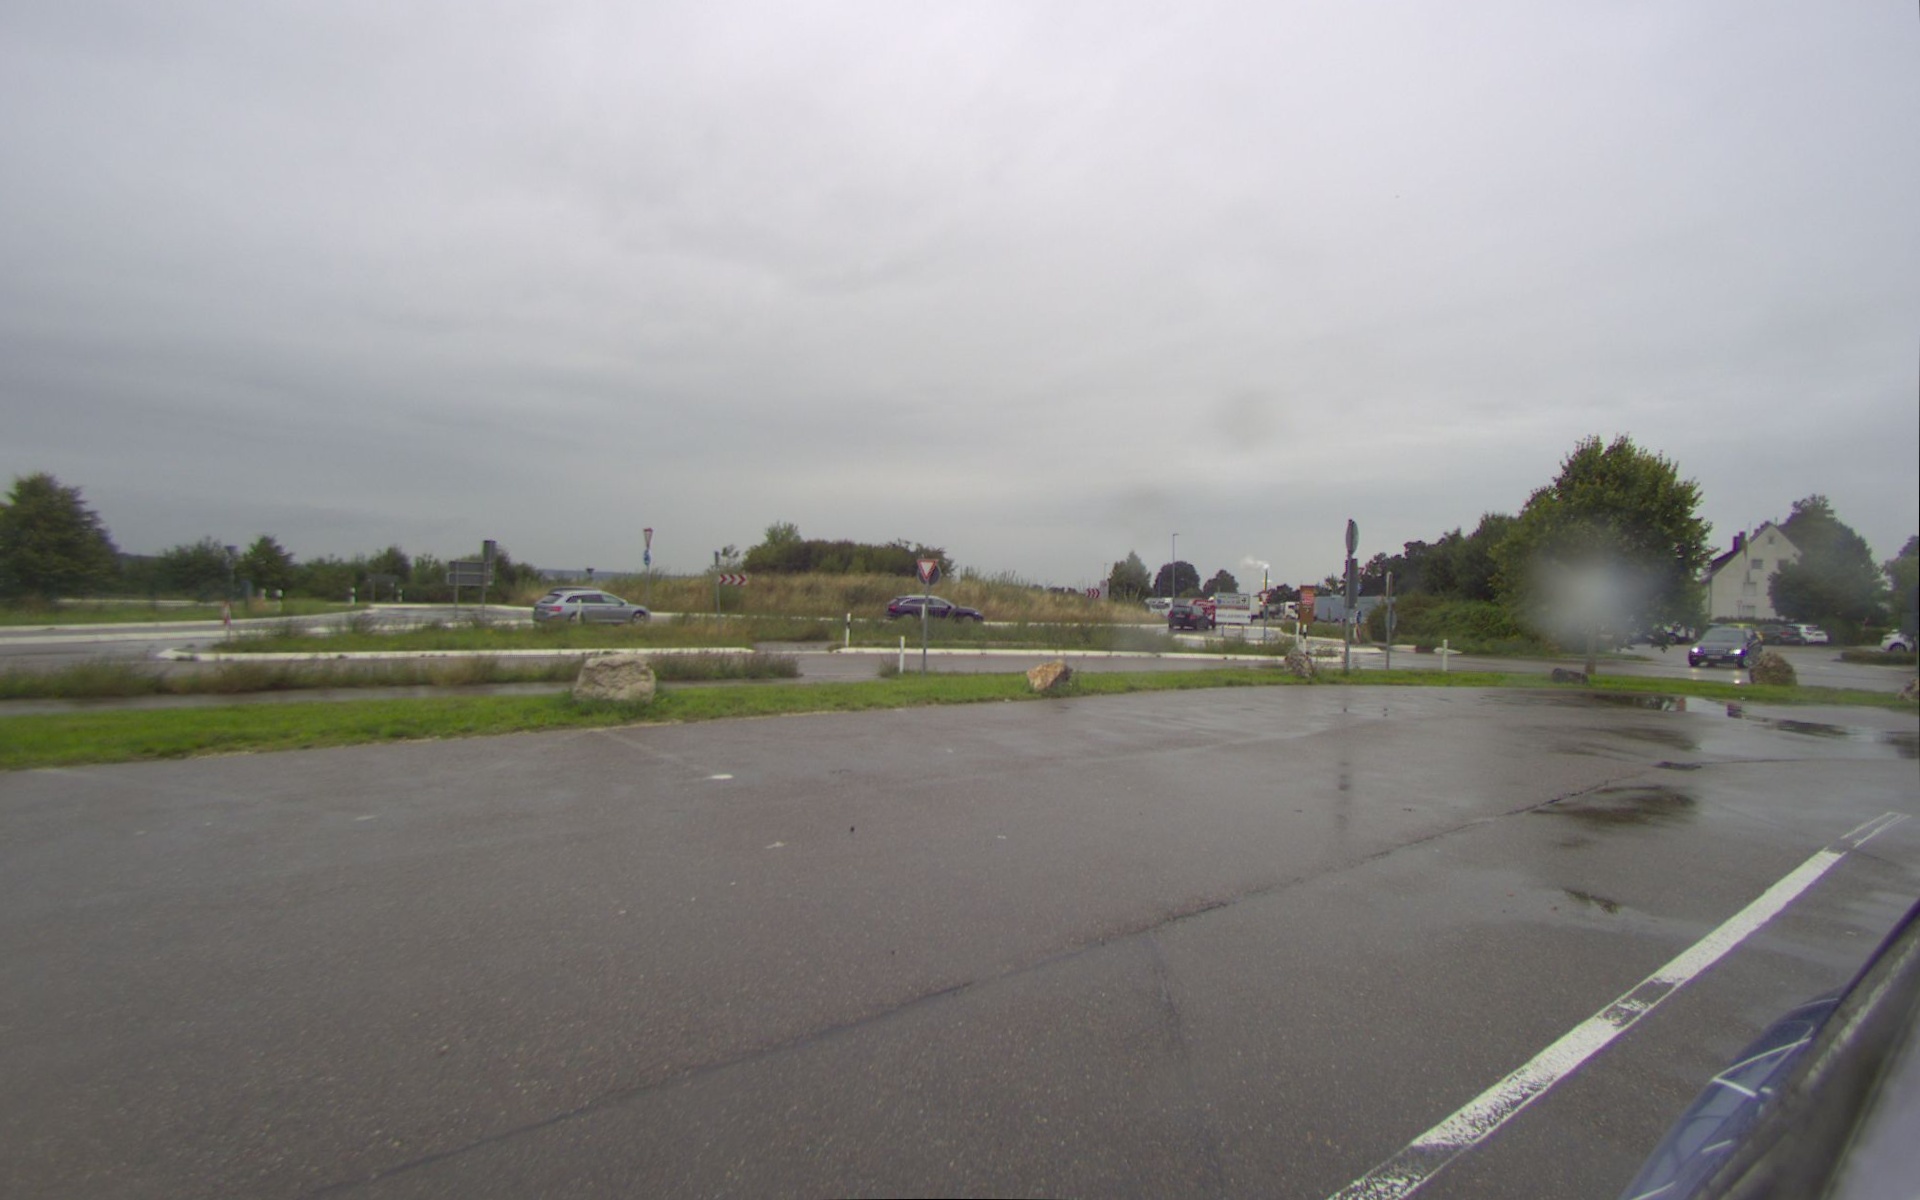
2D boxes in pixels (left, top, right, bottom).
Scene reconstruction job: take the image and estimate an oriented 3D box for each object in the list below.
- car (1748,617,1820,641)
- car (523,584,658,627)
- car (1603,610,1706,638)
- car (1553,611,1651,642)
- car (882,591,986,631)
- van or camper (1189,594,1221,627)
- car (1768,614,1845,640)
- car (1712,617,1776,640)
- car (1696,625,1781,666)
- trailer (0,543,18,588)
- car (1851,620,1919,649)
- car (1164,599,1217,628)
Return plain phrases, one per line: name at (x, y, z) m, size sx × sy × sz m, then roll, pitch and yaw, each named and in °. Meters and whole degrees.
car at (57.835, 2.012, 71.098) m, size 1.715 × 1.590 × 3.890 m, roll 1°, pitch -1°, yaw -3°
car at (-14.629, 0.244, 40.246) m, size 1.995 × 1.500 × 4.586 m, roll 4°, pitch 1°, yaw 45°
car at (46.107, 1.602, 67.262) m, size 1.966 × 1.744 × 5.366 m, roll 2°, pitch -1°, yaw -42°
car at (38.367, 1.563, 60.534) m, size 1.966 × 1.744 × 4.599 m, roll 2°, pitch -1°, yaw -42°
car at (-1.255, 0.516, 47.639) m, size 4.572 × 1.704 × 1.897 m, roll 1°, pitch 2°, yaw -12°
van or camper at (17.274, 0.694, 71.184) m, size 1.972 × 2.038 × 4.826 m, roll 3°, pitch 2°, yaw 15°
car at (59.964, 1.877, 71.762) m, size 1.951 × 1.750 × 4.002 m, roll 1°, pitch -1°, yaw -4°
car at (55.173, 1.990, 71.305) m, size 1.635 × 1.569 × 3.724 m, roll 1°, pitch -1°, yaw 2°
car at (29.839, 1.705, 38.746) m, size 4.283 × 1.443 × 1.704 m, roll 2°, pitch -1°, yaw -40°
trailer at (-68.056, -2.364, 65.595) m, size 9.933 × 2.939 × 2.210 m, roll 1°, pitch -1°, yaw -26°
car at (51.404, 1.894, 55.000) m, size 1.819 × 1.443 × 4.350 m, roll 2°, pitch 0°, yaw -44°
car at (13.824, 0.798, 60.410) m, size 1.982 × 1.623 × 4.479 m, roll 0°, pitch 0°, yaw 28°
